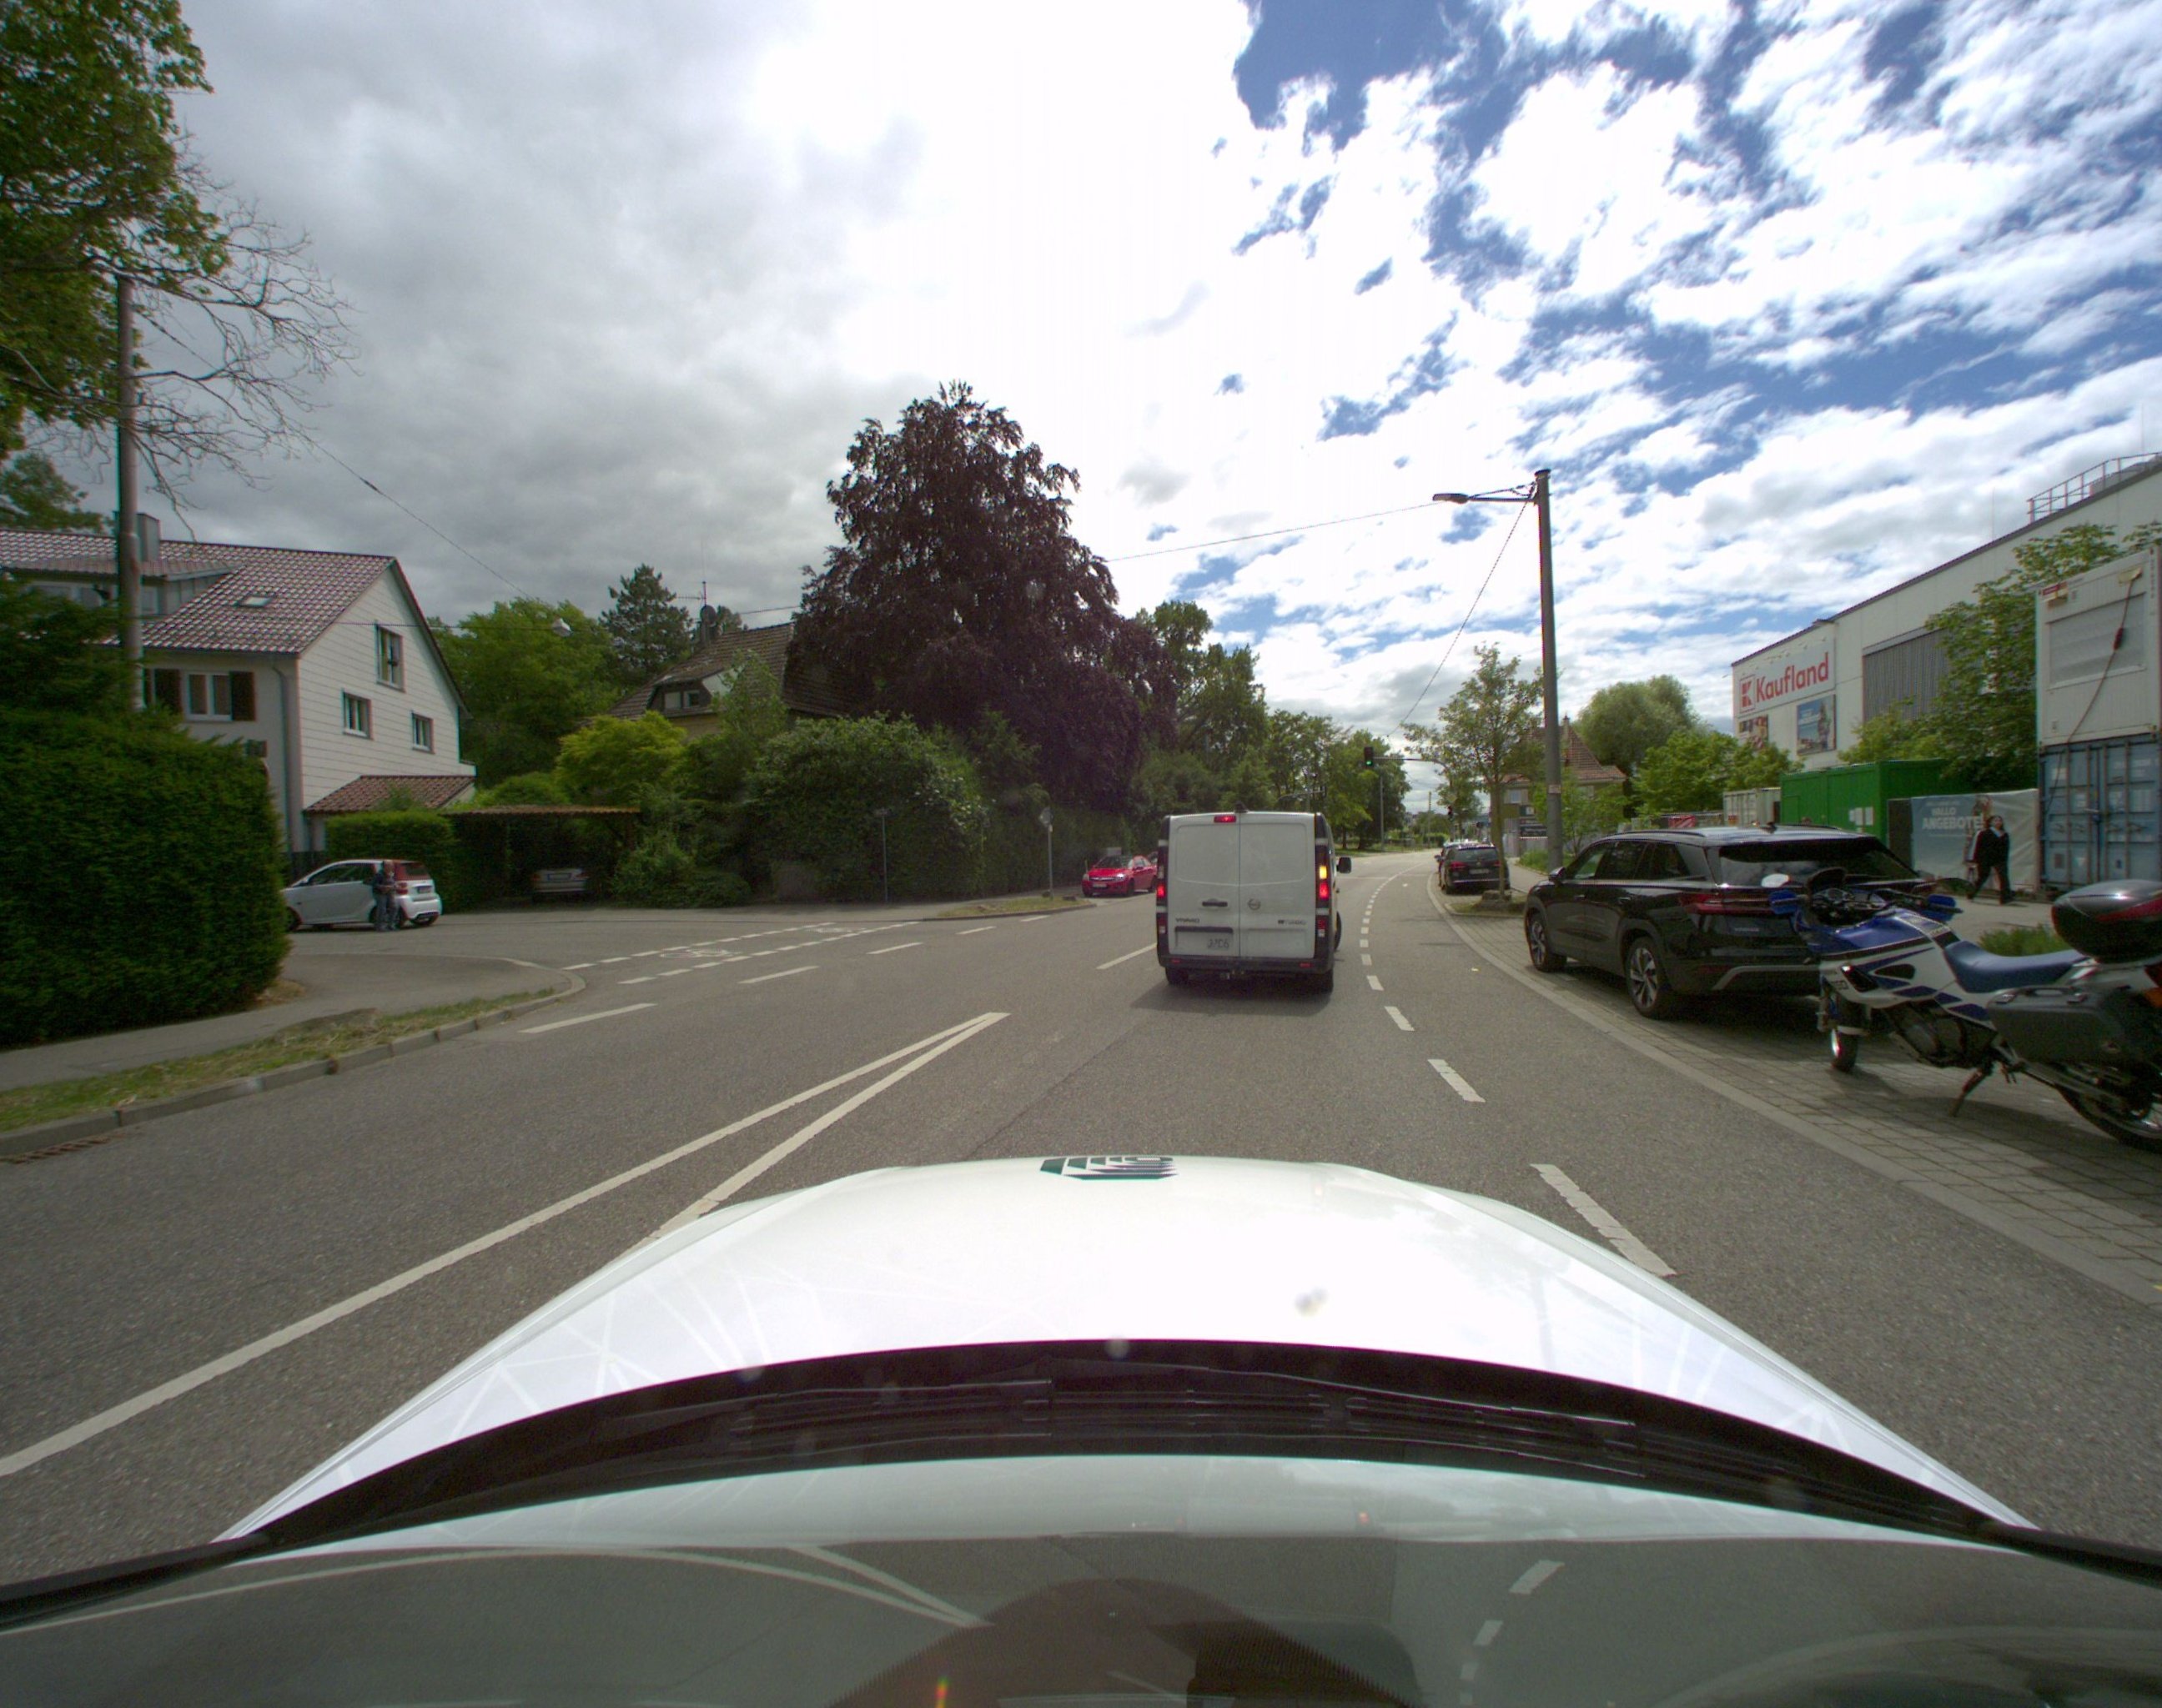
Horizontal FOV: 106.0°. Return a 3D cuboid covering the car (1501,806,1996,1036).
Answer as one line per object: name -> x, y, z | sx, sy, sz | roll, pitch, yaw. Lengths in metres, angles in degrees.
car -> 6.021, 0.496, 8.300 | 1.866, 1.621, 4.864 | -3, 0, 13

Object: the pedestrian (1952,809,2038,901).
pedestrian -> 16.541, 0.026, 14.759 | 0.736, 1.618, 0.771 | -1, 0, 20

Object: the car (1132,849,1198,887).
car -> 3.579, 0.540, 34.076 | 1.635, 1.450, 4.127 | 0, 1, 22

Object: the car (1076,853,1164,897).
car -> 1.497, 0.688, 29.165 | 1.646, 1.378, 4.591 | 0, 1, 23

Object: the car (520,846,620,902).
car -> -15.273, 0.520, 24.556 | 1.729, 1.509, 3.973 | -1, 1, -20

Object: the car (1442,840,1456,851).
car -> 57.018, -1.301, 126.295 | 1.817, 1.616, 4.176 | -2, 0, 24

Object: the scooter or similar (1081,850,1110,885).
scooter or similar -> 0.633, 0.557, 34.886 | 0.664, 1.412, 1.658 | 0, 1, 24

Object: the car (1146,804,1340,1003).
car -> 2.345, 0.437, 10.590 | 1.923, 1.960, 4.855 | 1, 1, 17

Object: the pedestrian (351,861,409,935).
pedestrian -> -14.835, 0.907, 17.254 | 0.730, 1.508, 0.624 | -1, 0, -17

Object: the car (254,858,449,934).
car -> -16.014, 0.872, 18.028 | 2.774, 1.555, 1.581 | 0, 0, -16

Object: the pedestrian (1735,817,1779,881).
pedestrian -> 18.501, -0.132, 22.303 | 0.646, 1.697, 0.849 | -1, 0, 20

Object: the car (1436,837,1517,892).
car -> 12.354, 0.279, 25.720 | 1.749, 1.477, 4.961 | -4, -1, 21

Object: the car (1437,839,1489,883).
car -> 14.210, 0.234, 30.422 | 1.554, 1.493, 4.022 | -3, 0, 23

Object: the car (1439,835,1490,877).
car -> 16.669, 0.083, 35.523 | 1.721, 1.616, 4.411 | -4, -1, 23

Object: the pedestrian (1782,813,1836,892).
pedestrian -> 16.124, -0.031, 18.057 | 0.645, 1.696, 0.728 | -1, 0, 20

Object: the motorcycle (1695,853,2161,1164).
motorcycle -> 4.801, 0.694, 4.687 | 1.064, 1.305, 2.267 | -4, 0, 11
